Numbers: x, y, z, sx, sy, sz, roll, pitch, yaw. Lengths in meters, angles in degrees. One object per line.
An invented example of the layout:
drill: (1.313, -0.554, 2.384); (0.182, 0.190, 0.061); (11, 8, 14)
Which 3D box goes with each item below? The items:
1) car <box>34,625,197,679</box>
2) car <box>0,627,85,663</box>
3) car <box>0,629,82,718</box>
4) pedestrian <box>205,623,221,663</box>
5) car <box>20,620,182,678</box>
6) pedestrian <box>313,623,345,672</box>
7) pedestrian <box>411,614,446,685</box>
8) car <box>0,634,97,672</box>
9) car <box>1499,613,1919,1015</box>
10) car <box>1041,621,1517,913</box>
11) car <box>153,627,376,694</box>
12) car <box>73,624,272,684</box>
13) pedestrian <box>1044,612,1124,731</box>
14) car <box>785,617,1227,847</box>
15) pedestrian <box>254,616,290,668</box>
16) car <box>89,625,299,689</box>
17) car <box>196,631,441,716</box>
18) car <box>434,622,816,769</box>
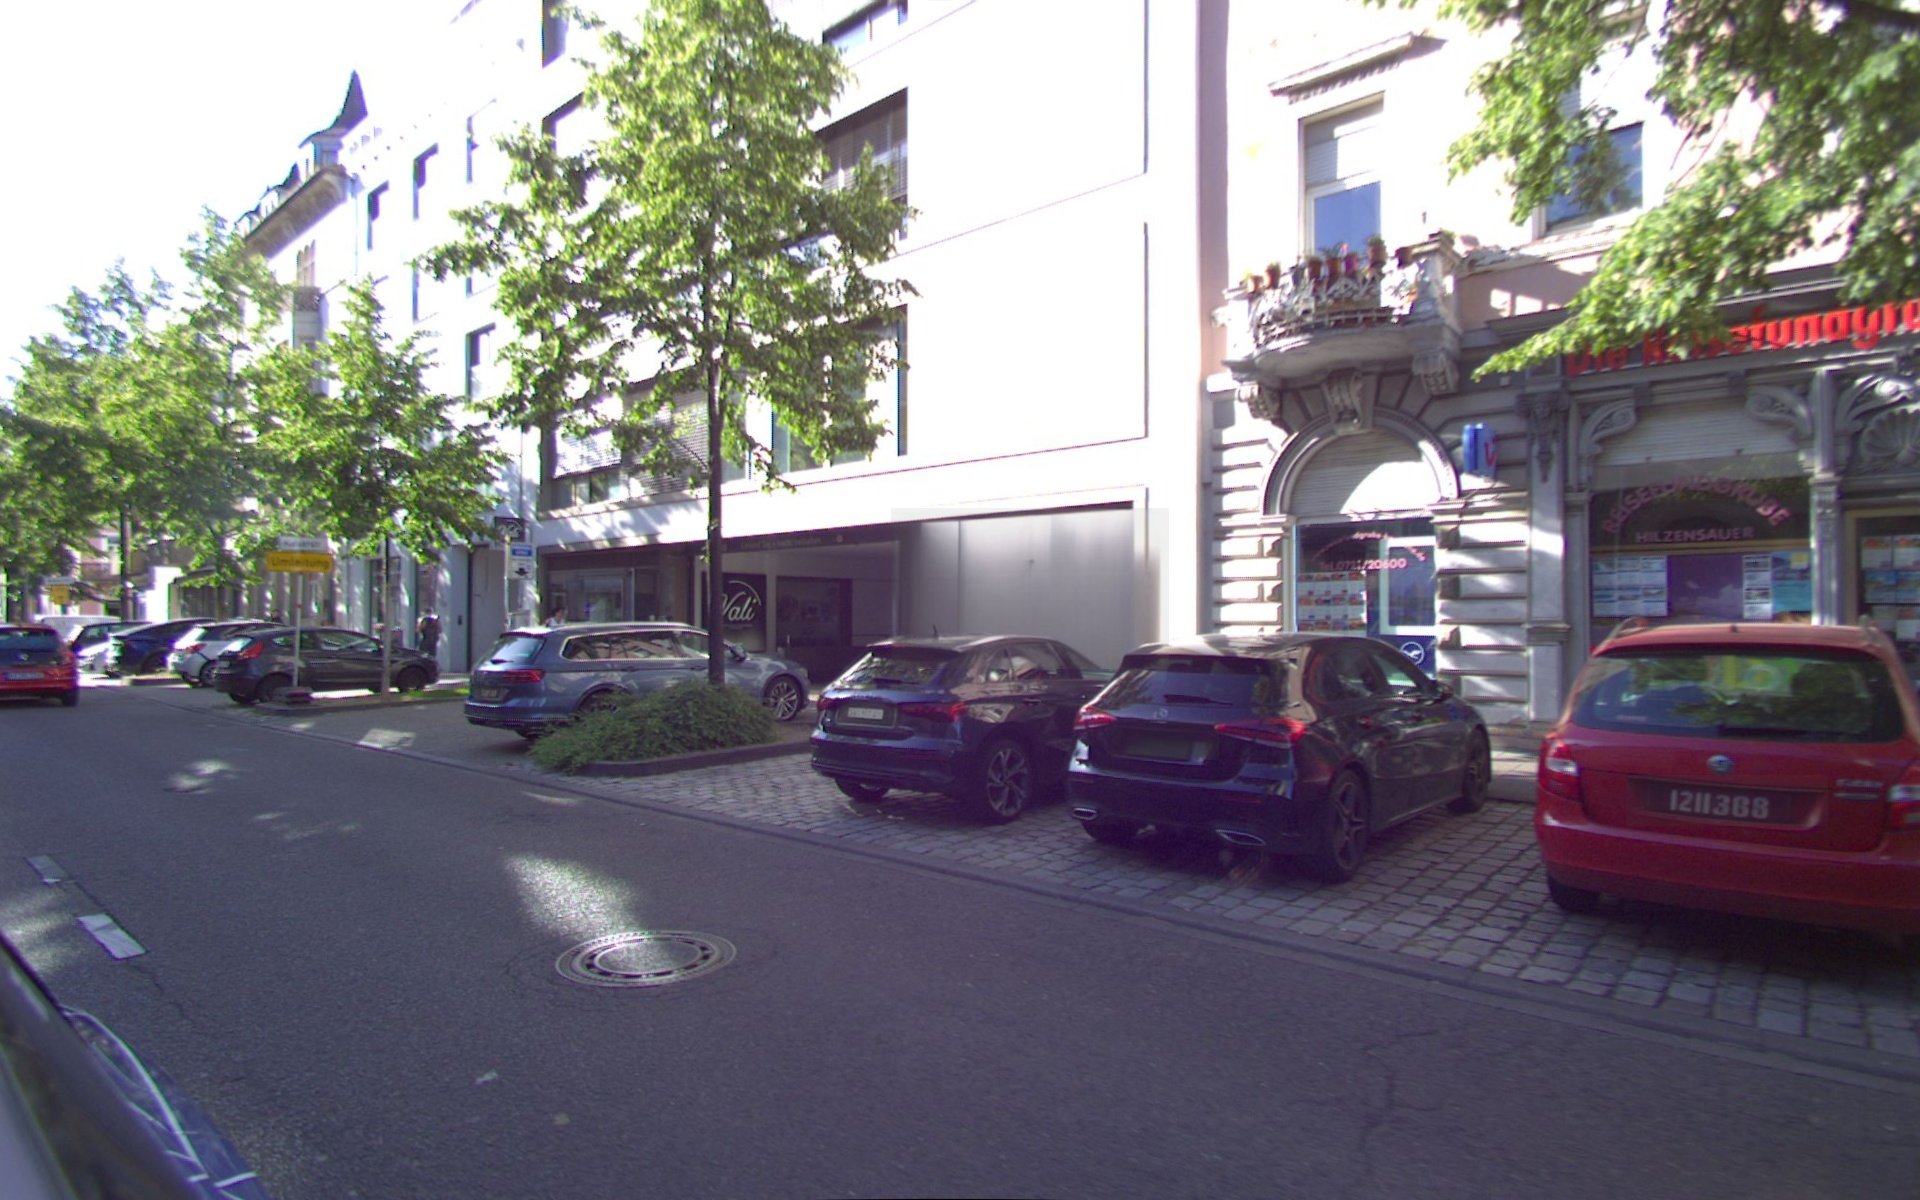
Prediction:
car: (-26.801, 1.611, 32.211); (1.791, 1.570, 3.760); (-2, -2, 41)
car: (-43.837, 2.109, 47.513); (1.747, 1.475, 3.957); (0, 1, 41)
car: (-17.948, 1.331, 19.012); (3.758, 1.547, 1.641); (-2, -4, 41)
pedestrian: (-31.723, 1.830, 42.961); (0.639, 1.684, 0.429); (-2, -2, 44)
car: (-29.933, 1.649, 35.348); (2.037, 1.850, 4.062); (-2, -2, 41)
pedestrian: (-19.747, 1.481, 31.669); (0.842, 1.505, 0.586); (-2, 0, 42)
pedestrian: (-13.968, 1.284, 26.577); (0.690, 1.811, 0.747); (1, -2, -38)
car: (-39.678, 2.255, 43.457); (1.708, 1.475, 3.742); (-2, -1, 38)
car: (4.378, 0.833, 5.553); (1.738, 1.479, 3.710); (-2, -2, 40)
car: (2.444, 0.899, 7.166); (1.789, 1.439, 3.800); (-2, -2, 42)
car: (-17.245, 1.445, 25.273); (1.977, 1.470, 4.206); (-2, -2, 37)
car: (-22.906, 1.515, 29.560); (1.945, 1.582, 4.321); (-2, -2, 41)
pedestrian: (1.536, 0.868, 12.584); (0.502, 1.419, 0.825); (0, -2, -45)
car: (0.579, 0.926, 8.794); (1.770, 1.497, 3.877); (-2, -2, 42)
pedestrian: (-24.132, 1.463, 35.480); (0.762, 1.779, 0.767); (-2, 2, 39)
car: (-21.021, 1.517, 27.914); (1.979, 1.582, 4.321); (-2, -2, 41)
car: (-12.638, 1.374, 20.115); (1.778, 1.470, 3.744); (-2, -2, 37)
car: (-4.175, 1.089, 13.223); (1.789, 1.470, 4.446); (-2, -1, 41)
